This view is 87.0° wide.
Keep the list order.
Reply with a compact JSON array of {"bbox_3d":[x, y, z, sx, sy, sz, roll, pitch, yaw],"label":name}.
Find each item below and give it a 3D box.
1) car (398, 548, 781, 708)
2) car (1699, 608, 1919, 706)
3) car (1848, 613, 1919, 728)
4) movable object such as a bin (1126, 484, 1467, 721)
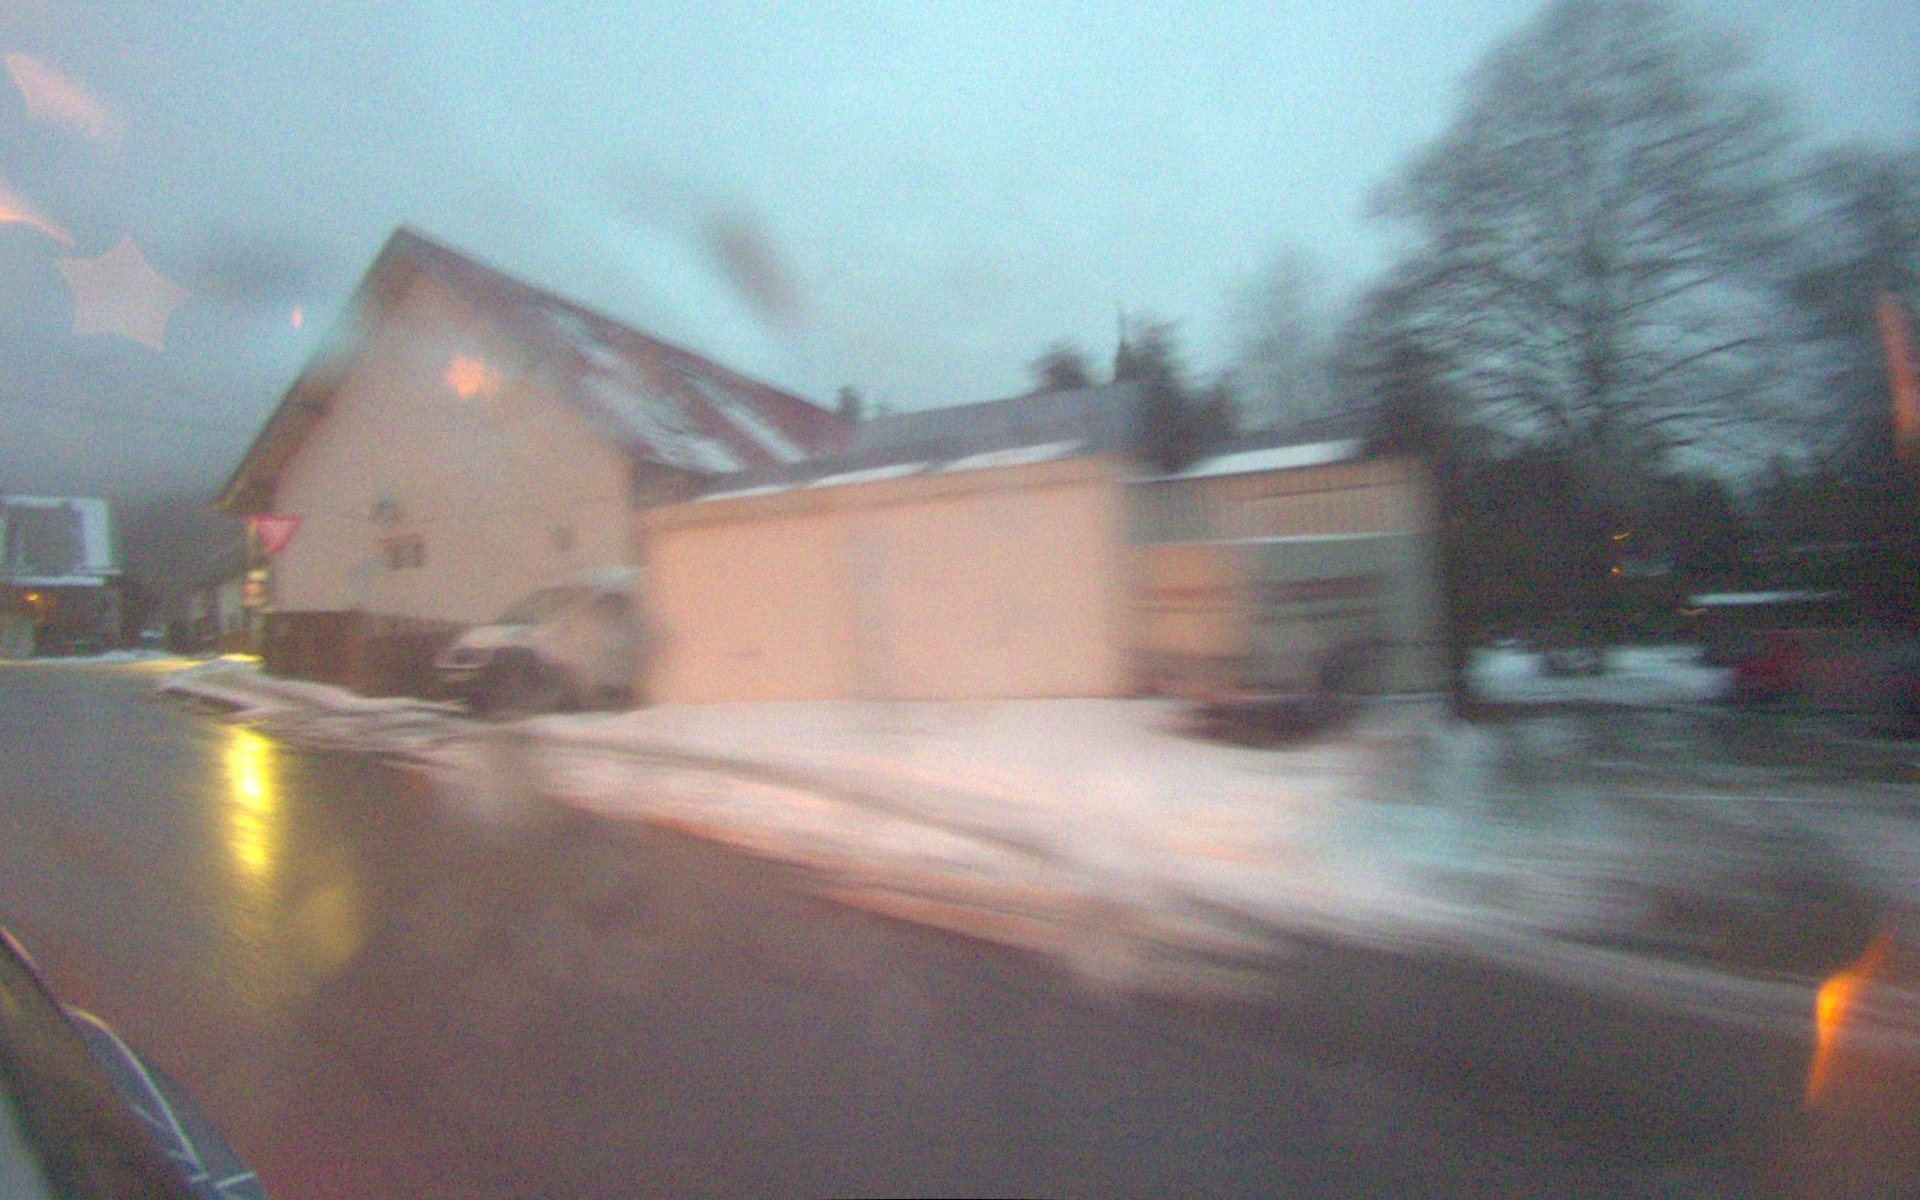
[{"bbox_3d":[-5.481,0.320,15.694,2.211,2.028,5.213,2,2,36],"label":"car"},{"bbox_3d":[15.315,0.933,17.196,3.959,1.475,1.797,-3,-2,12],"label":"car"},{"bbox_3d":[14.311,0.863,13.111,3.993,1.475,1.782,-4,-2,37],"label":"car"},{"bbox_3d":[2.808,-0.042,8.464,2.331,1.661,1.446,-5,2,-29],"label":"movable object such as a bin"}]
